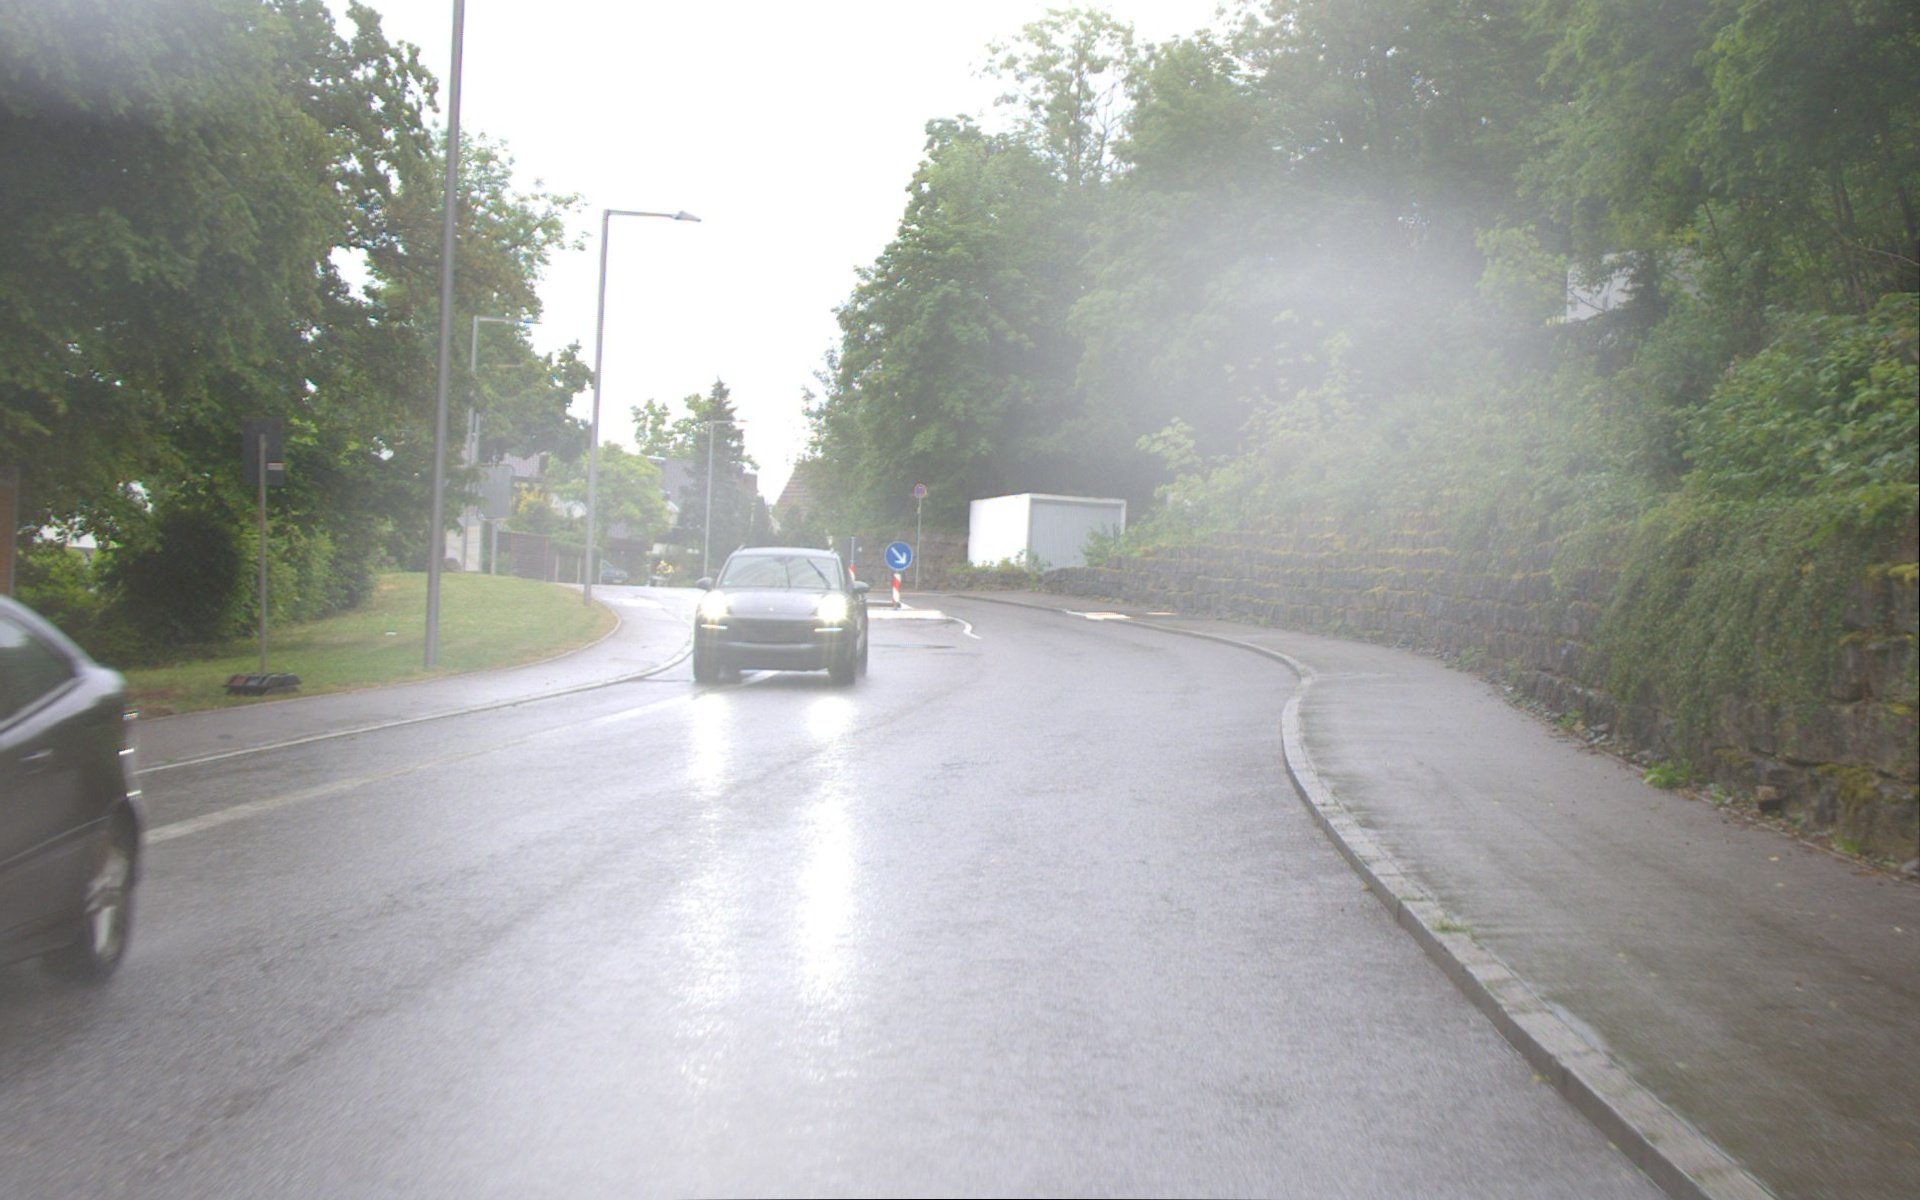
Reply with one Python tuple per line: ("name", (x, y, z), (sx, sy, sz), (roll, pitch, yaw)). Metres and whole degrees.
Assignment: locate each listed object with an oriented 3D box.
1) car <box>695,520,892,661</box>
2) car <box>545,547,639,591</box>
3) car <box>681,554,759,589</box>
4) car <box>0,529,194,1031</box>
("car", (-2.037, -0.136, 43.346), (1.918, 1.642, 4.546), (1, 1, 4))
("car", (-16.732, -1.415, 156.398), (3.997, 1.626, 2.009), (5, -1, 43))
("car", (-11.543, -1.386, 165.101), (1.934, 1.384, 4.000), (6, -1, -33))
("car", (-3.774, 0.507, 10.364), (1.834, 1.506, 4.169), (2, 1, 2))
